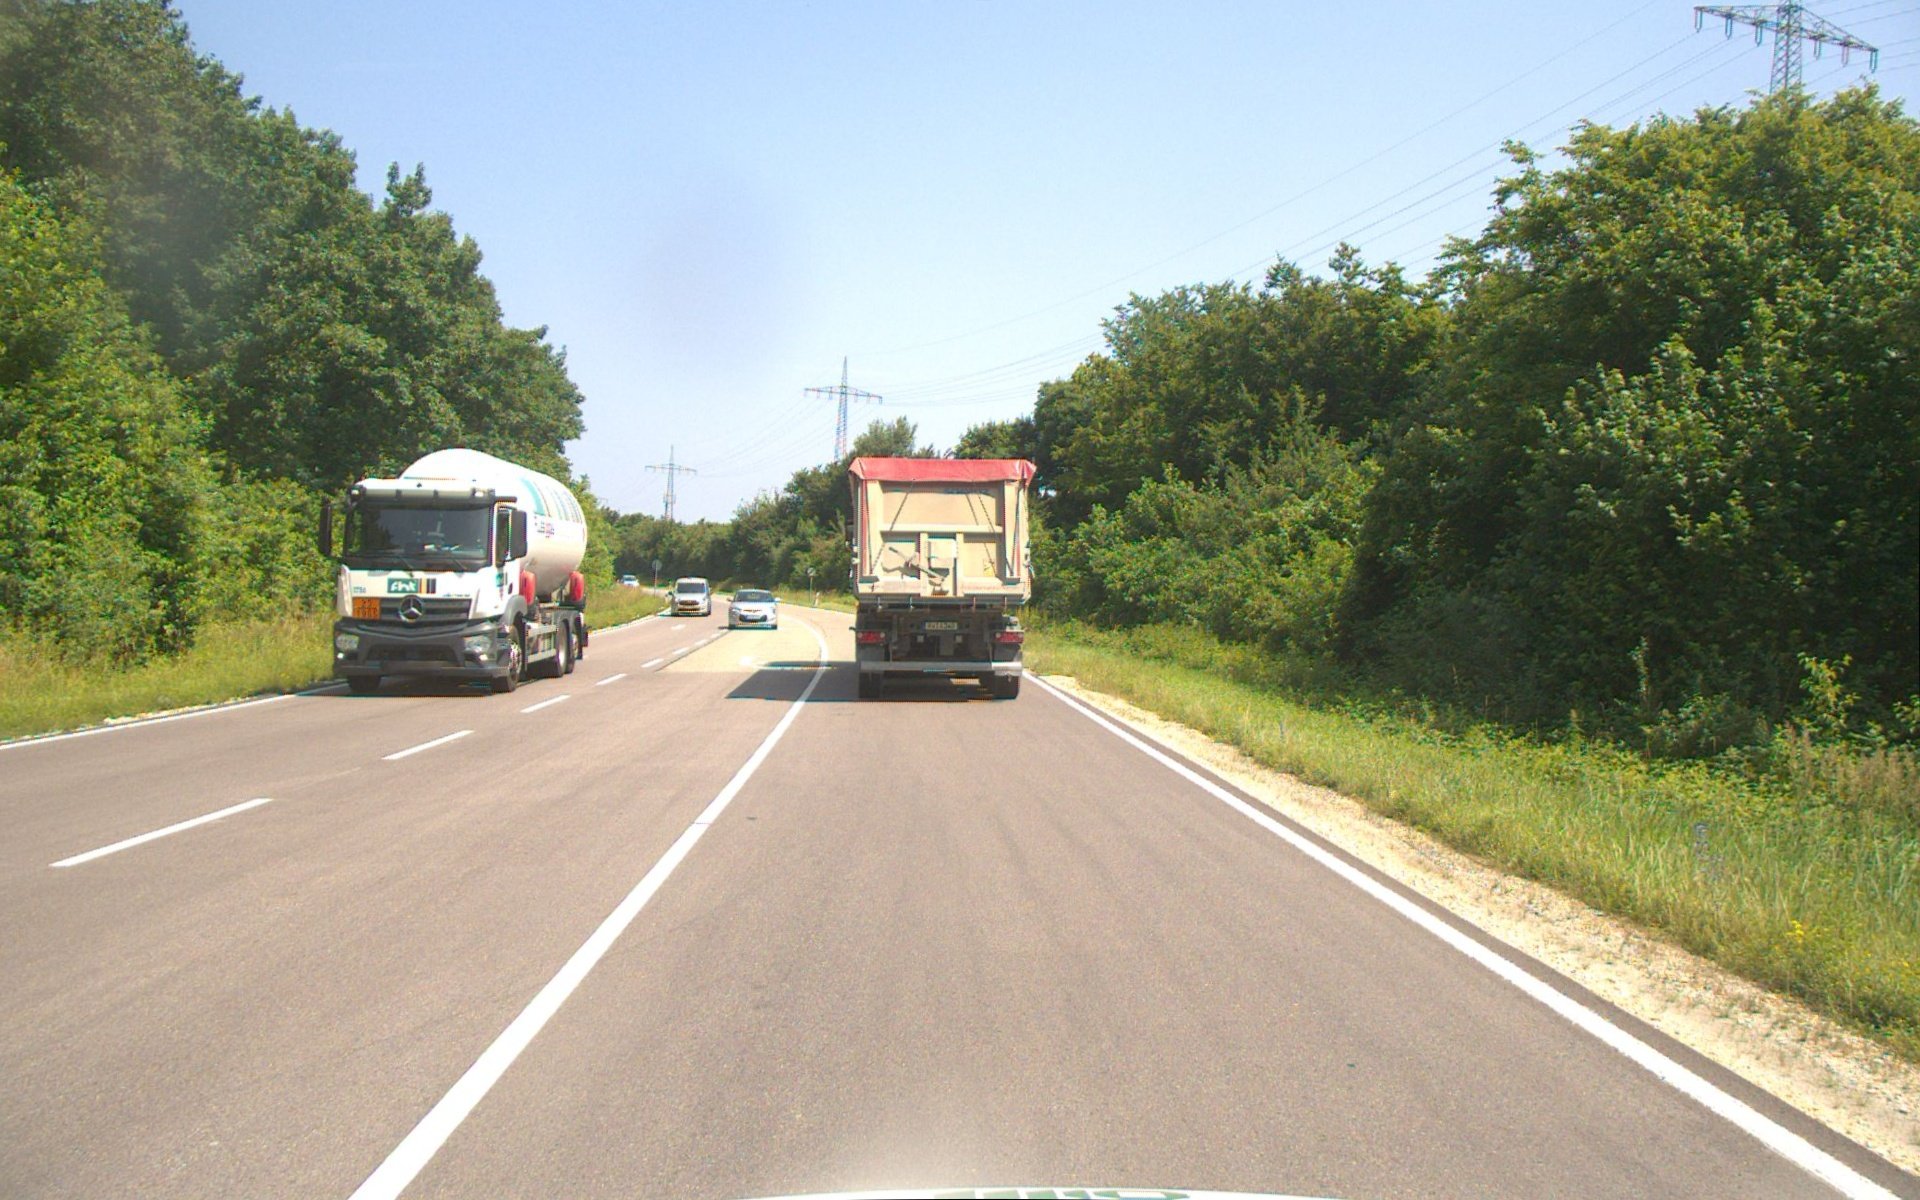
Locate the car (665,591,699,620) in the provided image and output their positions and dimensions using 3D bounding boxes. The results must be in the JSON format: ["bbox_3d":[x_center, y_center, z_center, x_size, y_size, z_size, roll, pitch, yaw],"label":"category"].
[{"bbox_3d":[-18.025,0.391,107.268,1.807,1.810,4.887,1,-1,-6],"label":"car"}]

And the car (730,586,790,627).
[{"bbox_3d":[-7.295,0.251,60.664,1.673,1.444,4.098,1,-1,0],"label":"car"}]

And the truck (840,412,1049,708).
[{"bbox_3d":[-0.541,-0.618,28.739,2.836,4.031,11.925,1,1,-3],"label":"truck"}]

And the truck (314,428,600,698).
[{"bbox_3d":[-7.945,-0.509,27.397,2.575,3.735,8.789,1,0,-4],"label":"truck"}]

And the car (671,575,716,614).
[{"bbox_3d":[-12.859,-0.255,79.971,1.807,1.810,4.887,1,-1,-6],"label":"car"}]
